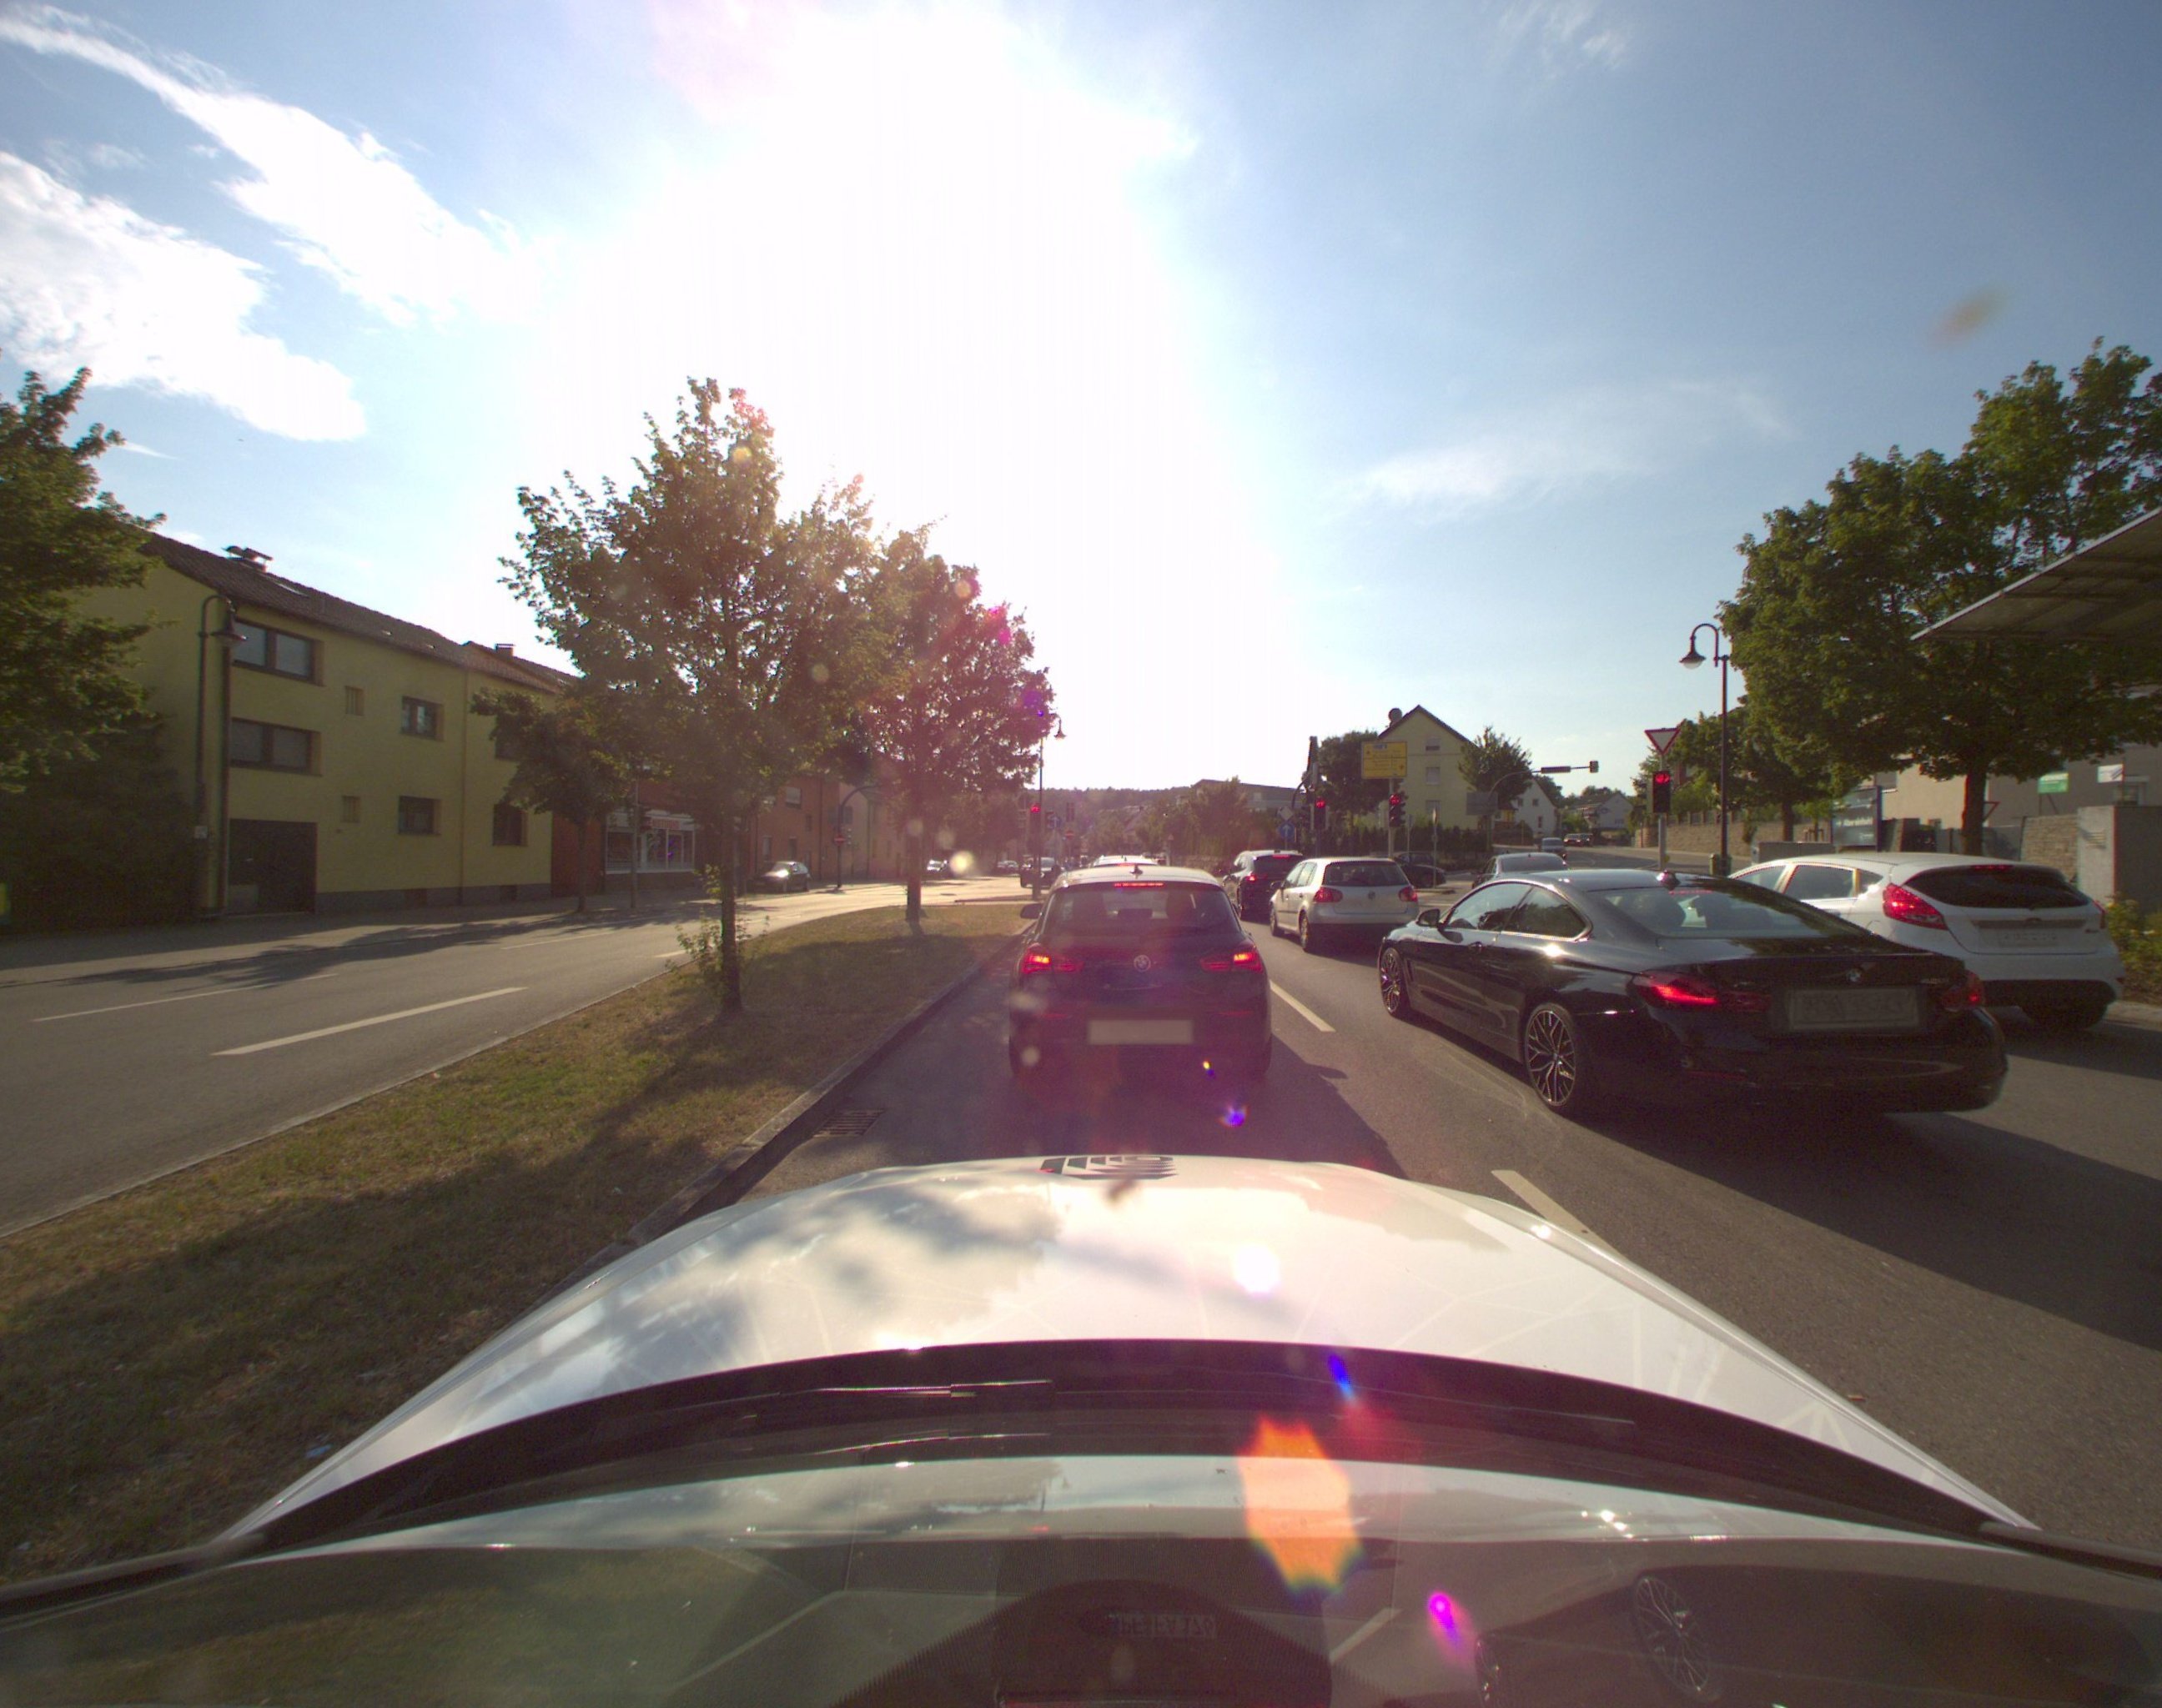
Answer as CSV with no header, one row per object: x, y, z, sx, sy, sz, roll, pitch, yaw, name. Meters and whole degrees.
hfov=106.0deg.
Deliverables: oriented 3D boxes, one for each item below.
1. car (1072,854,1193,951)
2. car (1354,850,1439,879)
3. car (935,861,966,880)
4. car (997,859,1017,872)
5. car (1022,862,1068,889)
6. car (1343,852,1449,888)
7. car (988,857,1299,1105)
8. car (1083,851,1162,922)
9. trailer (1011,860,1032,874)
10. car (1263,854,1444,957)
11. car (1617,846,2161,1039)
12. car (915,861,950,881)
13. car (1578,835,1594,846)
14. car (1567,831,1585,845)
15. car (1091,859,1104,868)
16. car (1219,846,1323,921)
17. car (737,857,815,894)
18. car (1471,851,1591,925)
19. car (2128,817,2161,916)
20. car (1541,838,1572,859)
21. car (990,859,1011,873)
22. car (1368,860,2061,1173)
0.901,0.741,14.393,1.808,1.451,4.245,-1,0,3,car
17.171,0.569,44.392,4.061,1.507,1.783,0,0,-14,car
-11.763,1.485,73.566,1.916,1.596,4.004,0,0,4,car
-9.308,1.393,103.217,1.916,1.596,4.004,0,0,4,car
-2.011,1.134,44.139,1.695,1.353,3.980,0,0,-14,car
13.259,0.677,34.451,3.960,1.458,1.778,0,0,12,car
0.488,0.747,6.894,1.783,1.414,4.351,-1,0,3,car
1.096,0.760,21.065,1.808,1.641,4.245,-1,0,3,car
-6.957,1.546,95.519,1.986,1.552,4.002,0,0,2,trailer
4.349,0.738,13.732,1.808,1.446,4.351,-1,0,3,car
7.450,0.674,8.186,1.720,1.450,4.074,-1,0,5,car
-12.270,1.360,67.529,1.916,1.596,4.004,0,0,4,car
72.255,-1.906,116.491,1.759,1.580,4.025,-1,0,35,car
59.306,-1.855,97.527,1.759,1.580,4.025,-1,0,32,car
2.845,1.692,141.995,1.858,1.485,4.652,0,0,-4,car
4.577,0.659,20.263,1.808,1.666,4.351,-1,0,3,car
-14.158,0.953,38.088,1.834,1.552,4.005,2,0,5,car
9.904,0.670,18.263,1.667,1.435,4.613,-1,0,20,car
19.464,0.190,12.439,3.958,1.608,1.861,0,0,14,car
33.533,-0.402,57.481,1.694,1.244,4.026,-1,4,28,car
-9.615,1.384,97.715,1.916,1.596,4.004,0,0,4,car
3.634,0.755,5.880,1.808,1.388,4.351,-1,0,3,car
